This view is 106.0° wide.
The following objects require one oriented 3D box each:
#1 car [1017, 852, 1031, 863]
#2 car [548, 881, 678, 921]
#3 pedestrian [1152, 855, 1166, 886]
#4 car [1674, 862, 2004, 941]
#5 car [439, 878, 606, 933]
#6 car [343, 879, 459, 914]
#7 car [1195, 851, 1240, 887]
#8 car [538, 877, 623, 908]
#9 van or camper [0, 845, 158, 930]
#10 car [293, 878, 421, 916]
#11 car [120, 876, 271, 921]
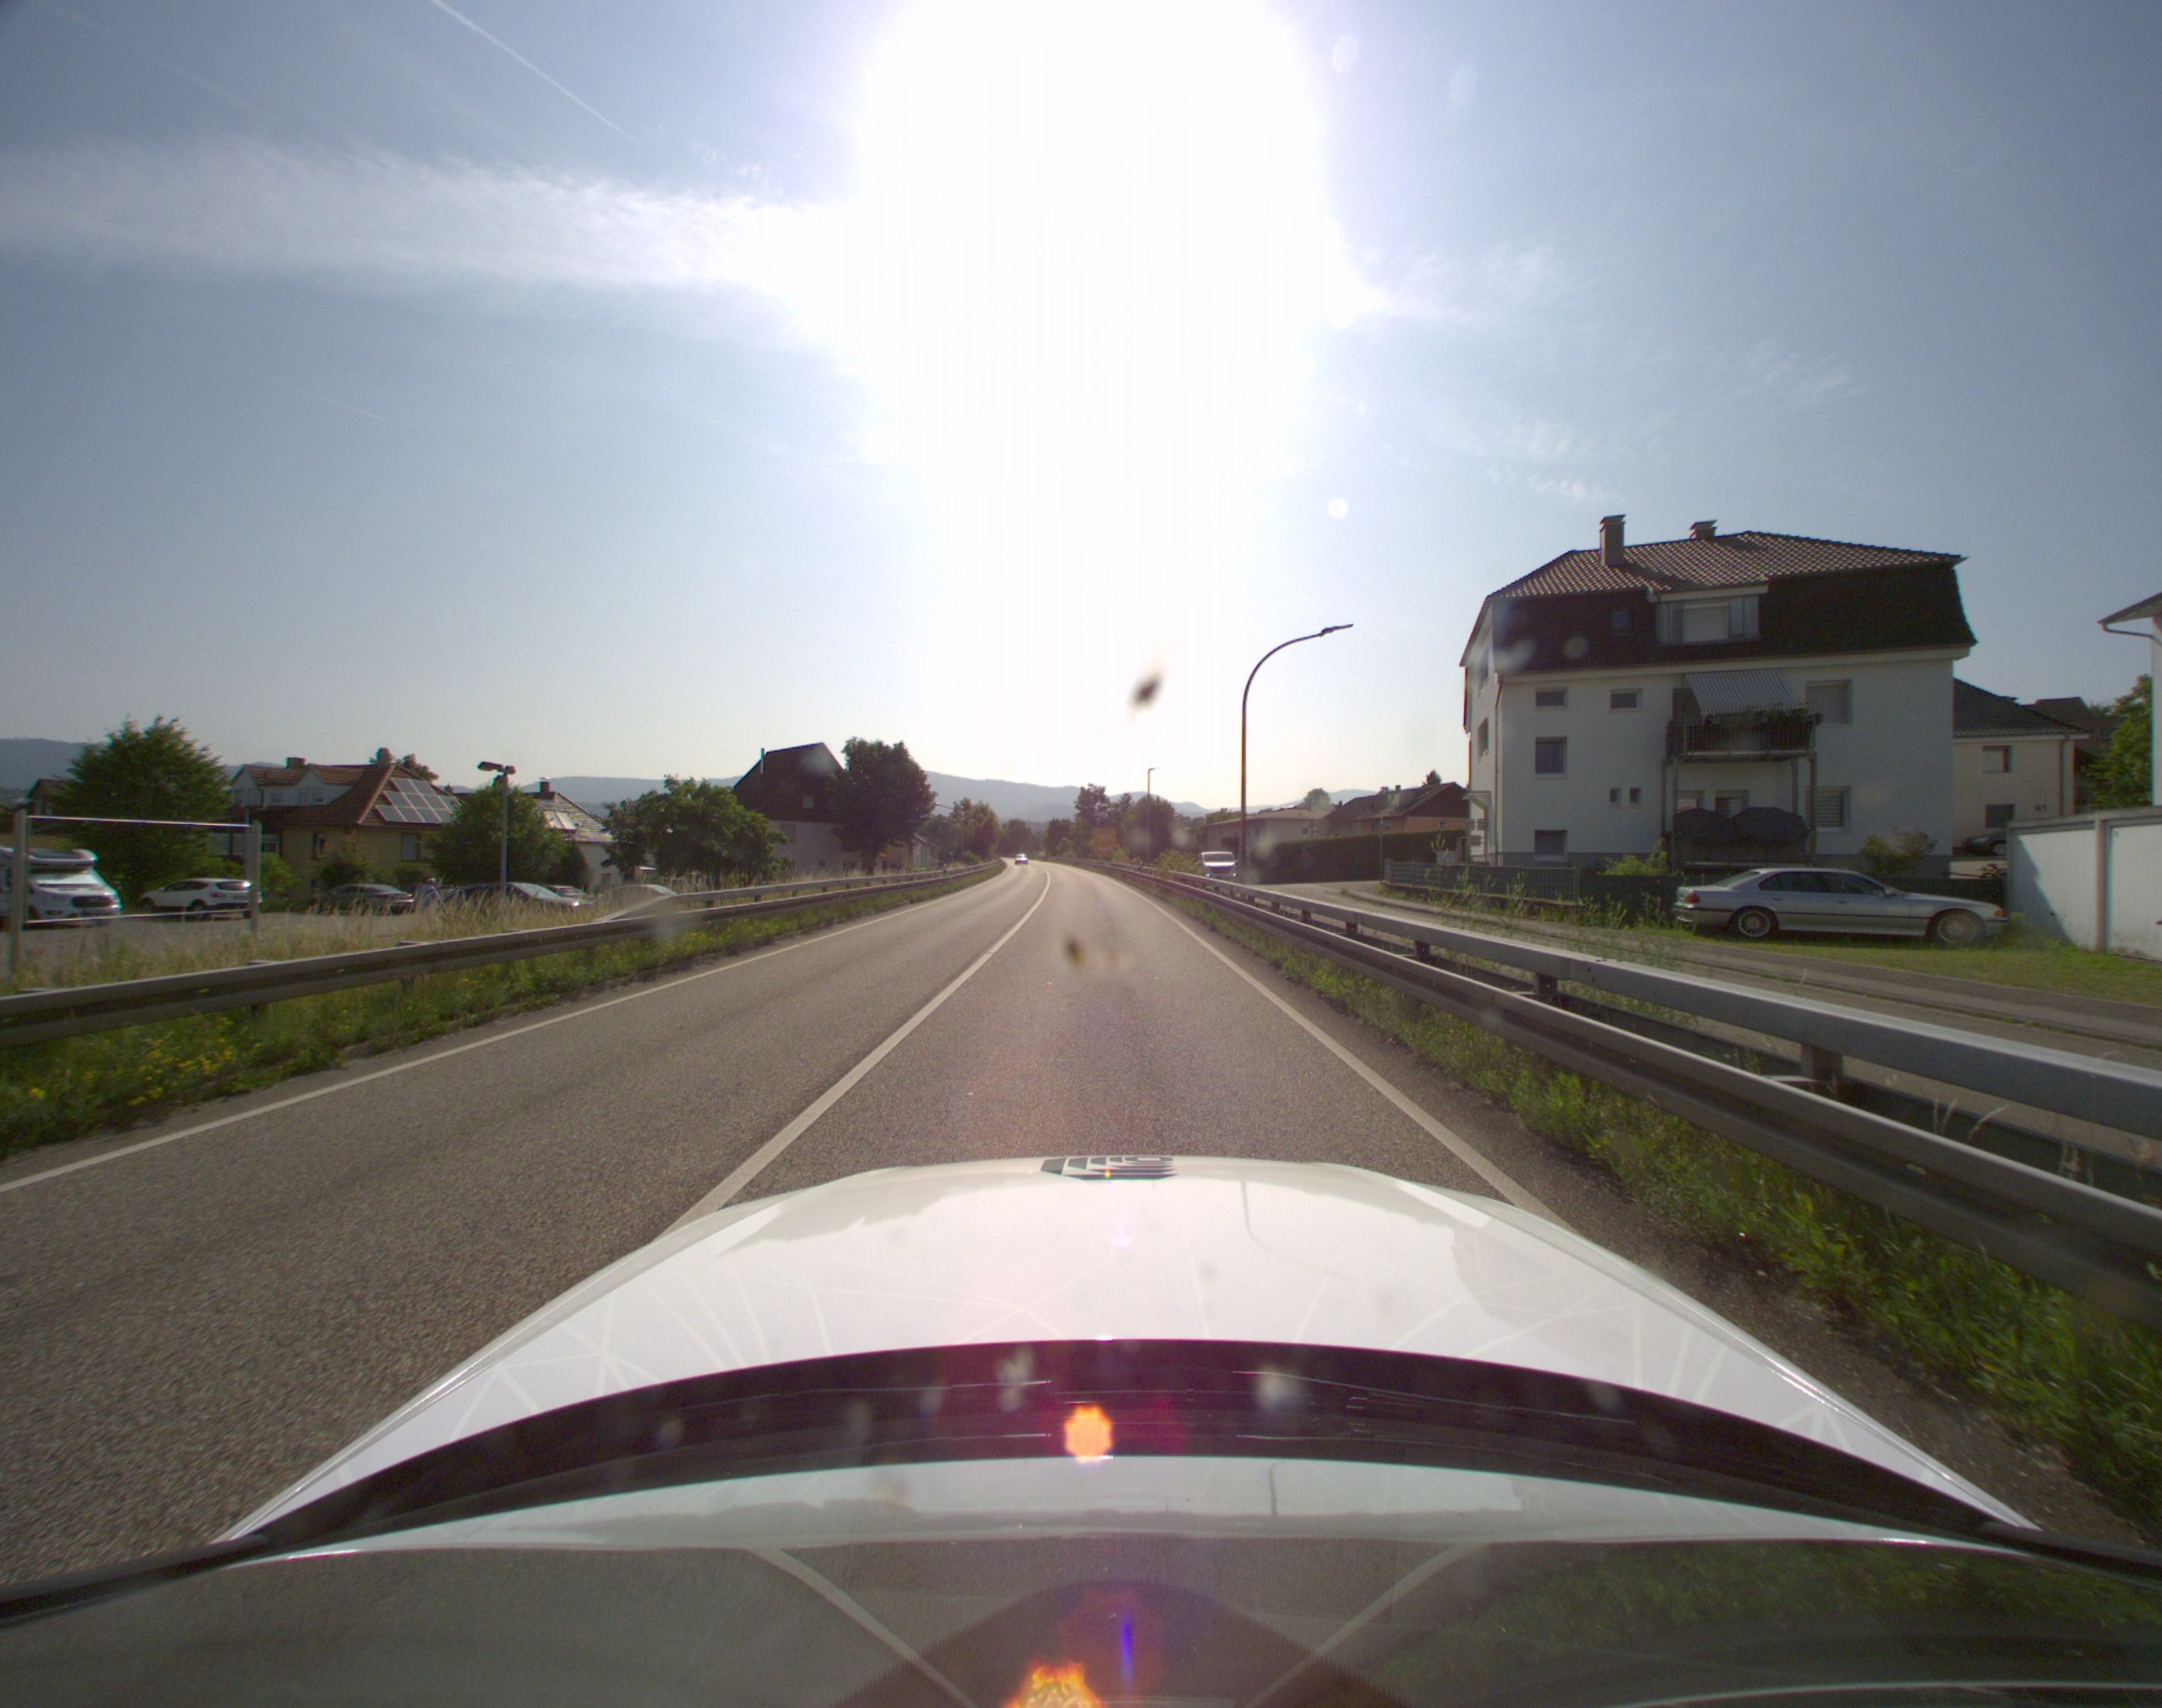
[{"bbox_3d":[-7.986,0.439,113.525,1.754,1.410,3.986,-2,0,-2],"label":"car"},{"bbox_3d":[-19.313,1.924,33.743,4.283,1.504,1.875,-1,0,2],"label":"car"},{"bbox_3d":[5.115,1.052,53.277,0.785,2.013,0.997,-1,0,1],"label":"pedestrian"},{"bbox_3d":[14.947,0.920,16.462,4.552,1.348,1.766,-2,1,28],"label":"car"},{"bbox_3d":[-18.849,1.721,27.632,4.288,1.665,1.873,-1,0,-2],"label":"car"},{"bbox_3d":[-33.732,2.084,40.442,4.528,1.634,1.867,1,-2,11],"label":"car"},{"bbox_3d":[7.845,0.817,47.230,1.985,1.945,5.365,-1,0,3],"label":"car"},{"bbox_3d":[-30.709,2.375,50.017,4.130,1.634,1.867,3,-2,12],"label":"car"},{"bbox_3d":[-37.756,1.095,29.030,7.352,2.842,2.754,1,0,8],"label":"van or camper"},{"bbox_3d":[-33.643,1.963,37.896,4.532,1.634,1.866,1,-2,8],"label":"car"},{"bbox_3d":[-35.910,1.786,33.087,4.532,1.633,1.866,1,0,8],"label":"car"}]
